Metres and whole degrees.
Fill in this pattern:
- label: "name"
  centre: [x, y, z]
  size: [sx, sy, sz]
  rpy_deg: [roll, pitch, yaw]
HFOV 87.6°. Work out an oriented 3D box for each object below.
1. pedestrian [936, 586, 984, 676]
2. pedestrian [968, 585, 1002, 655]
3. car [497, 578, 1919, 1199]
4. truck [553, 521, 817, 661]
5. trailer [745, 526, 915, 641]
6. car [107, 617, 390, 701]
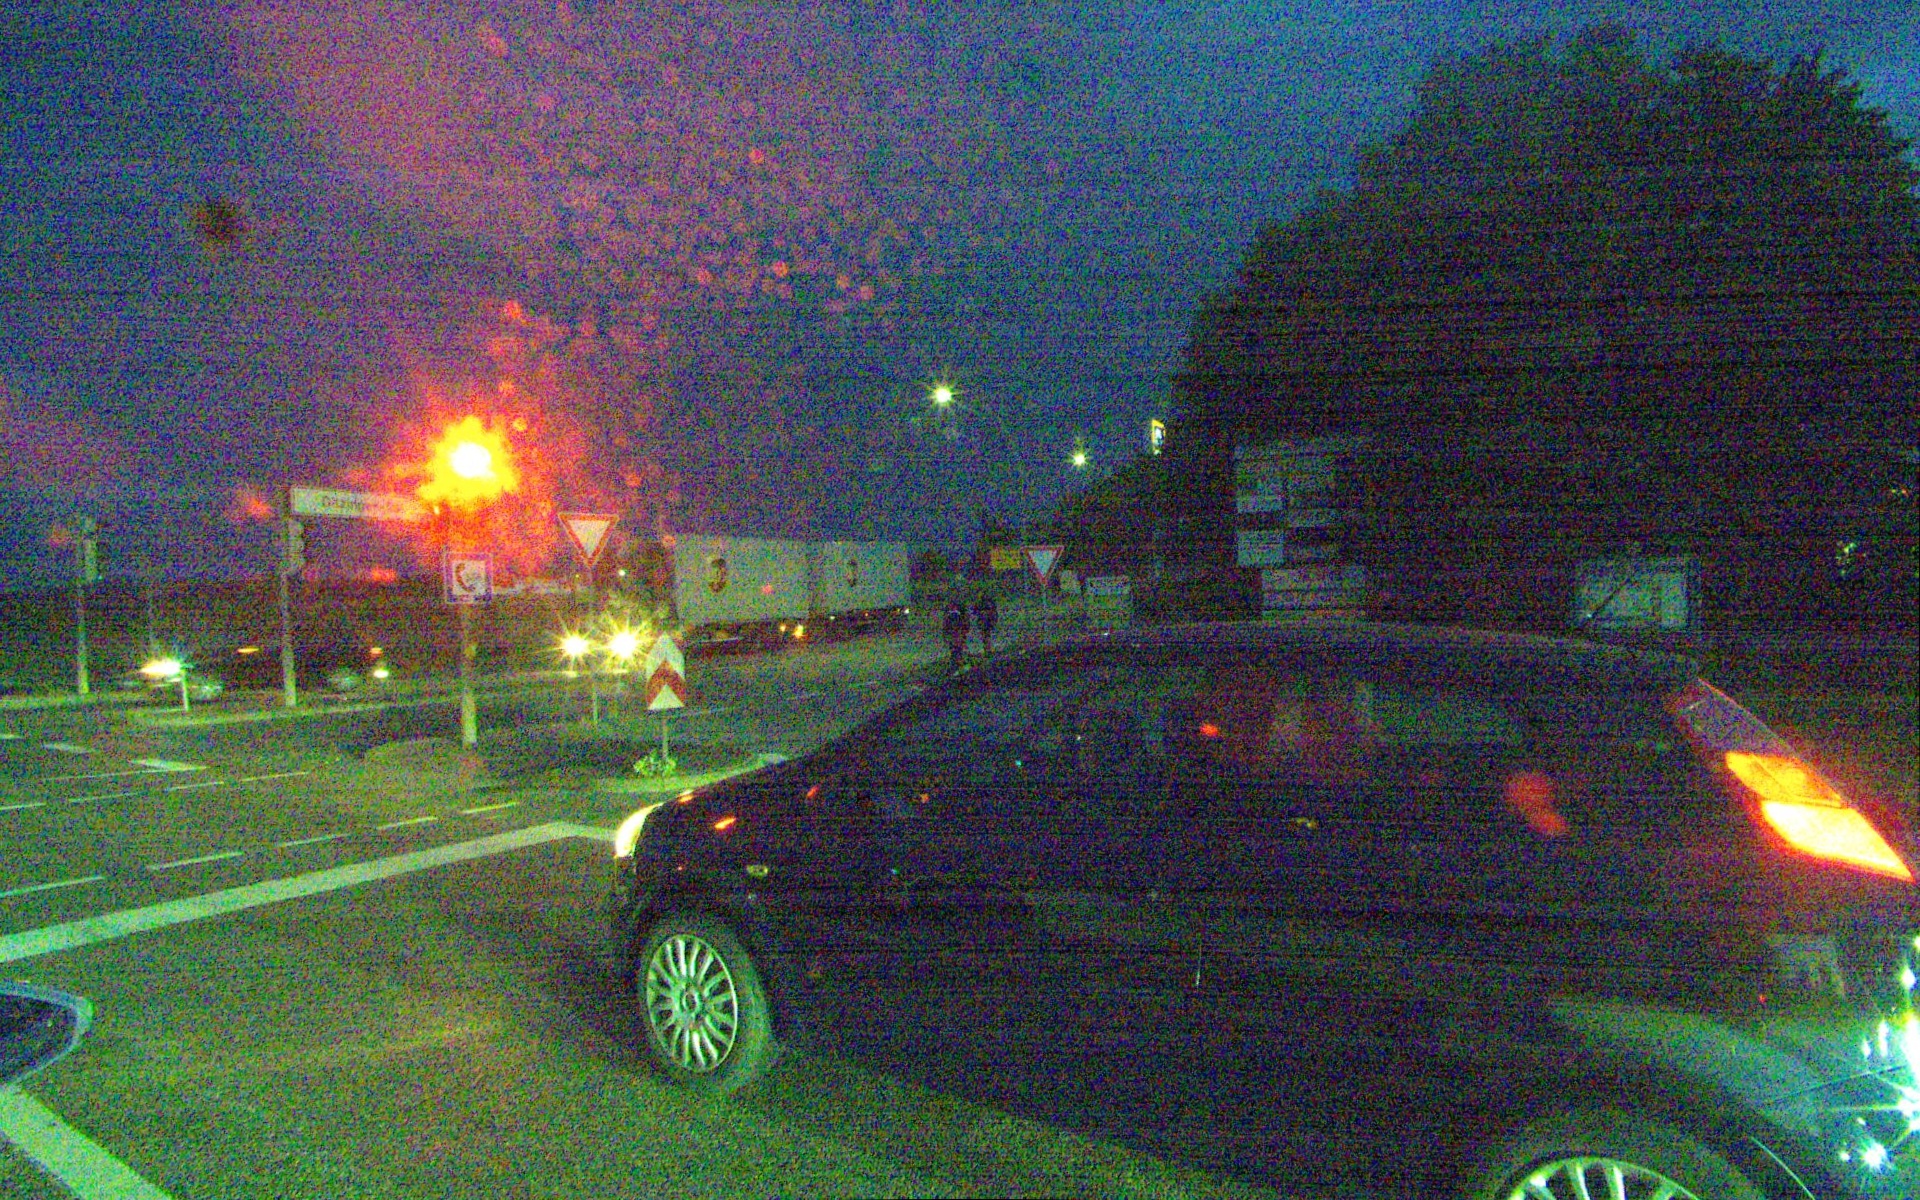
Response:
- label: "pedestrian"
  centre: [-0.001, 0.649, 21.563]
  size: [0.861, 1.859, 0.731]
  rpy_deg: [-3, 1, 6]
- label: "pedestrian"
  centre: [0.705, 0.545, 28.064]
  size: [0.860, 1.925, 0.660]
  rpy_deg: [-1, 1, 6]
- label: "car"
  centre: [0.410, 0.778, 3.292]
  size: [4.049, 1.540, 1.666]
  rpy_deg: [-1, -1, 34]
- label: "truck"
  centre: [-8.821, -0.300, 34.025]
  size: [2.876, 4.033, 10.039]
  rpy_deg: [-1, 1, 24]
- label: "trailer"
  centre: [-5.223, -0.794, 42.599]
  size: [2.876, 4.361, 9.042]
  rpy_deg: [-1, 2, 23]
- label: "car"
  centre: [-15.168, 1.166, 21.645]
  size: [1.970, 1.540, 4.594]
  rpy_deg: [0, 0, 30]
